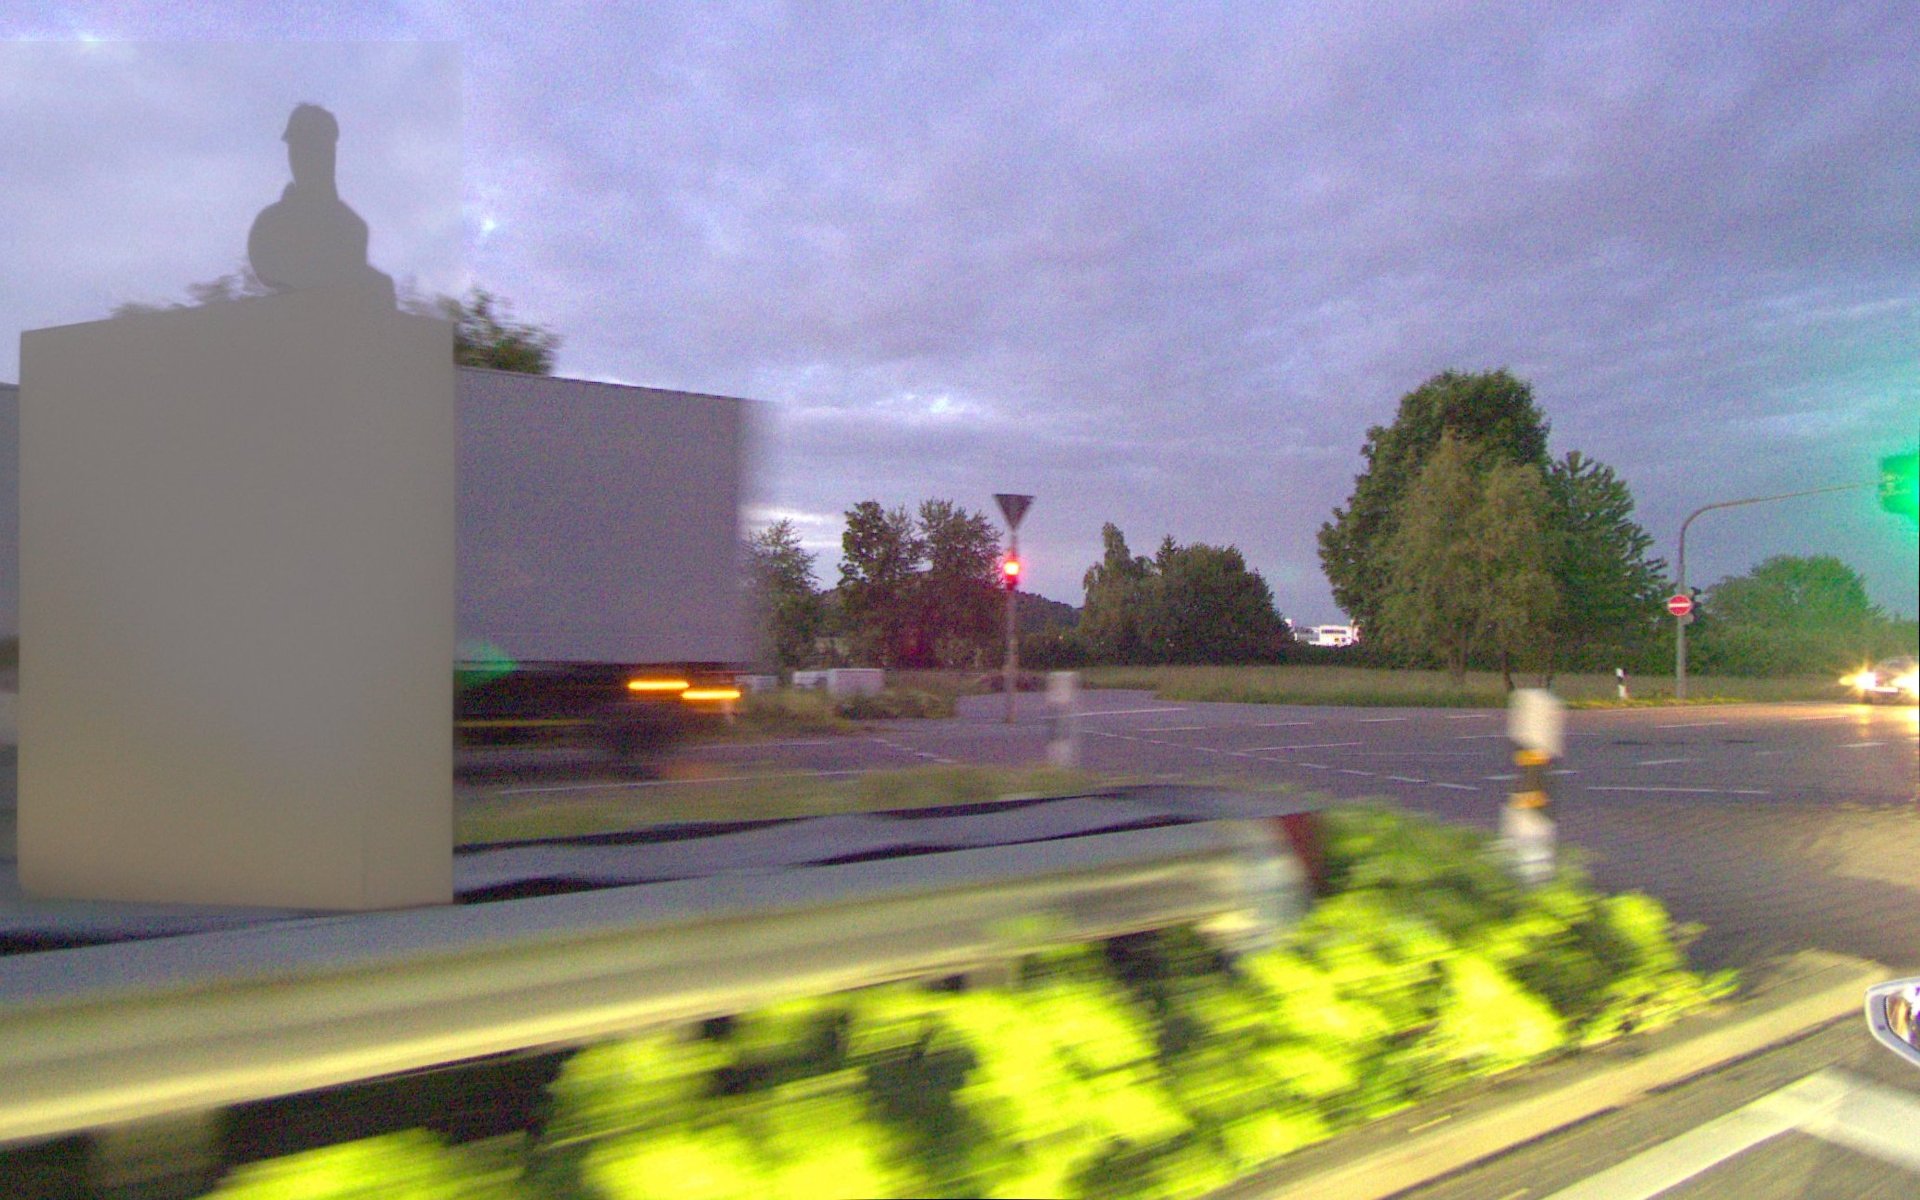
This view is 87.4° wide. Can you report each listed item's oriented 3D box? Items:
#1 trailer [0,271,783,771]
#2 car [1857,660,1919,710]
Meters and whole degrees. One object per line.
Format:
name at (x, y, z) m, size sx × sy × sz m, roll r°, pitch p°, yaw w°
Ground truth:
trailer at (-6.397, -0.534, 9.957) m, size 8.751 × 3.994 × 2.571 m, roll 2°, pitch -2°, yaw -23°
car at (29.541, 2.627, 31.008) m, size 3.984 × 1.402 × 1.644 m, roll 3°, pitch -2°, yaw -31°
